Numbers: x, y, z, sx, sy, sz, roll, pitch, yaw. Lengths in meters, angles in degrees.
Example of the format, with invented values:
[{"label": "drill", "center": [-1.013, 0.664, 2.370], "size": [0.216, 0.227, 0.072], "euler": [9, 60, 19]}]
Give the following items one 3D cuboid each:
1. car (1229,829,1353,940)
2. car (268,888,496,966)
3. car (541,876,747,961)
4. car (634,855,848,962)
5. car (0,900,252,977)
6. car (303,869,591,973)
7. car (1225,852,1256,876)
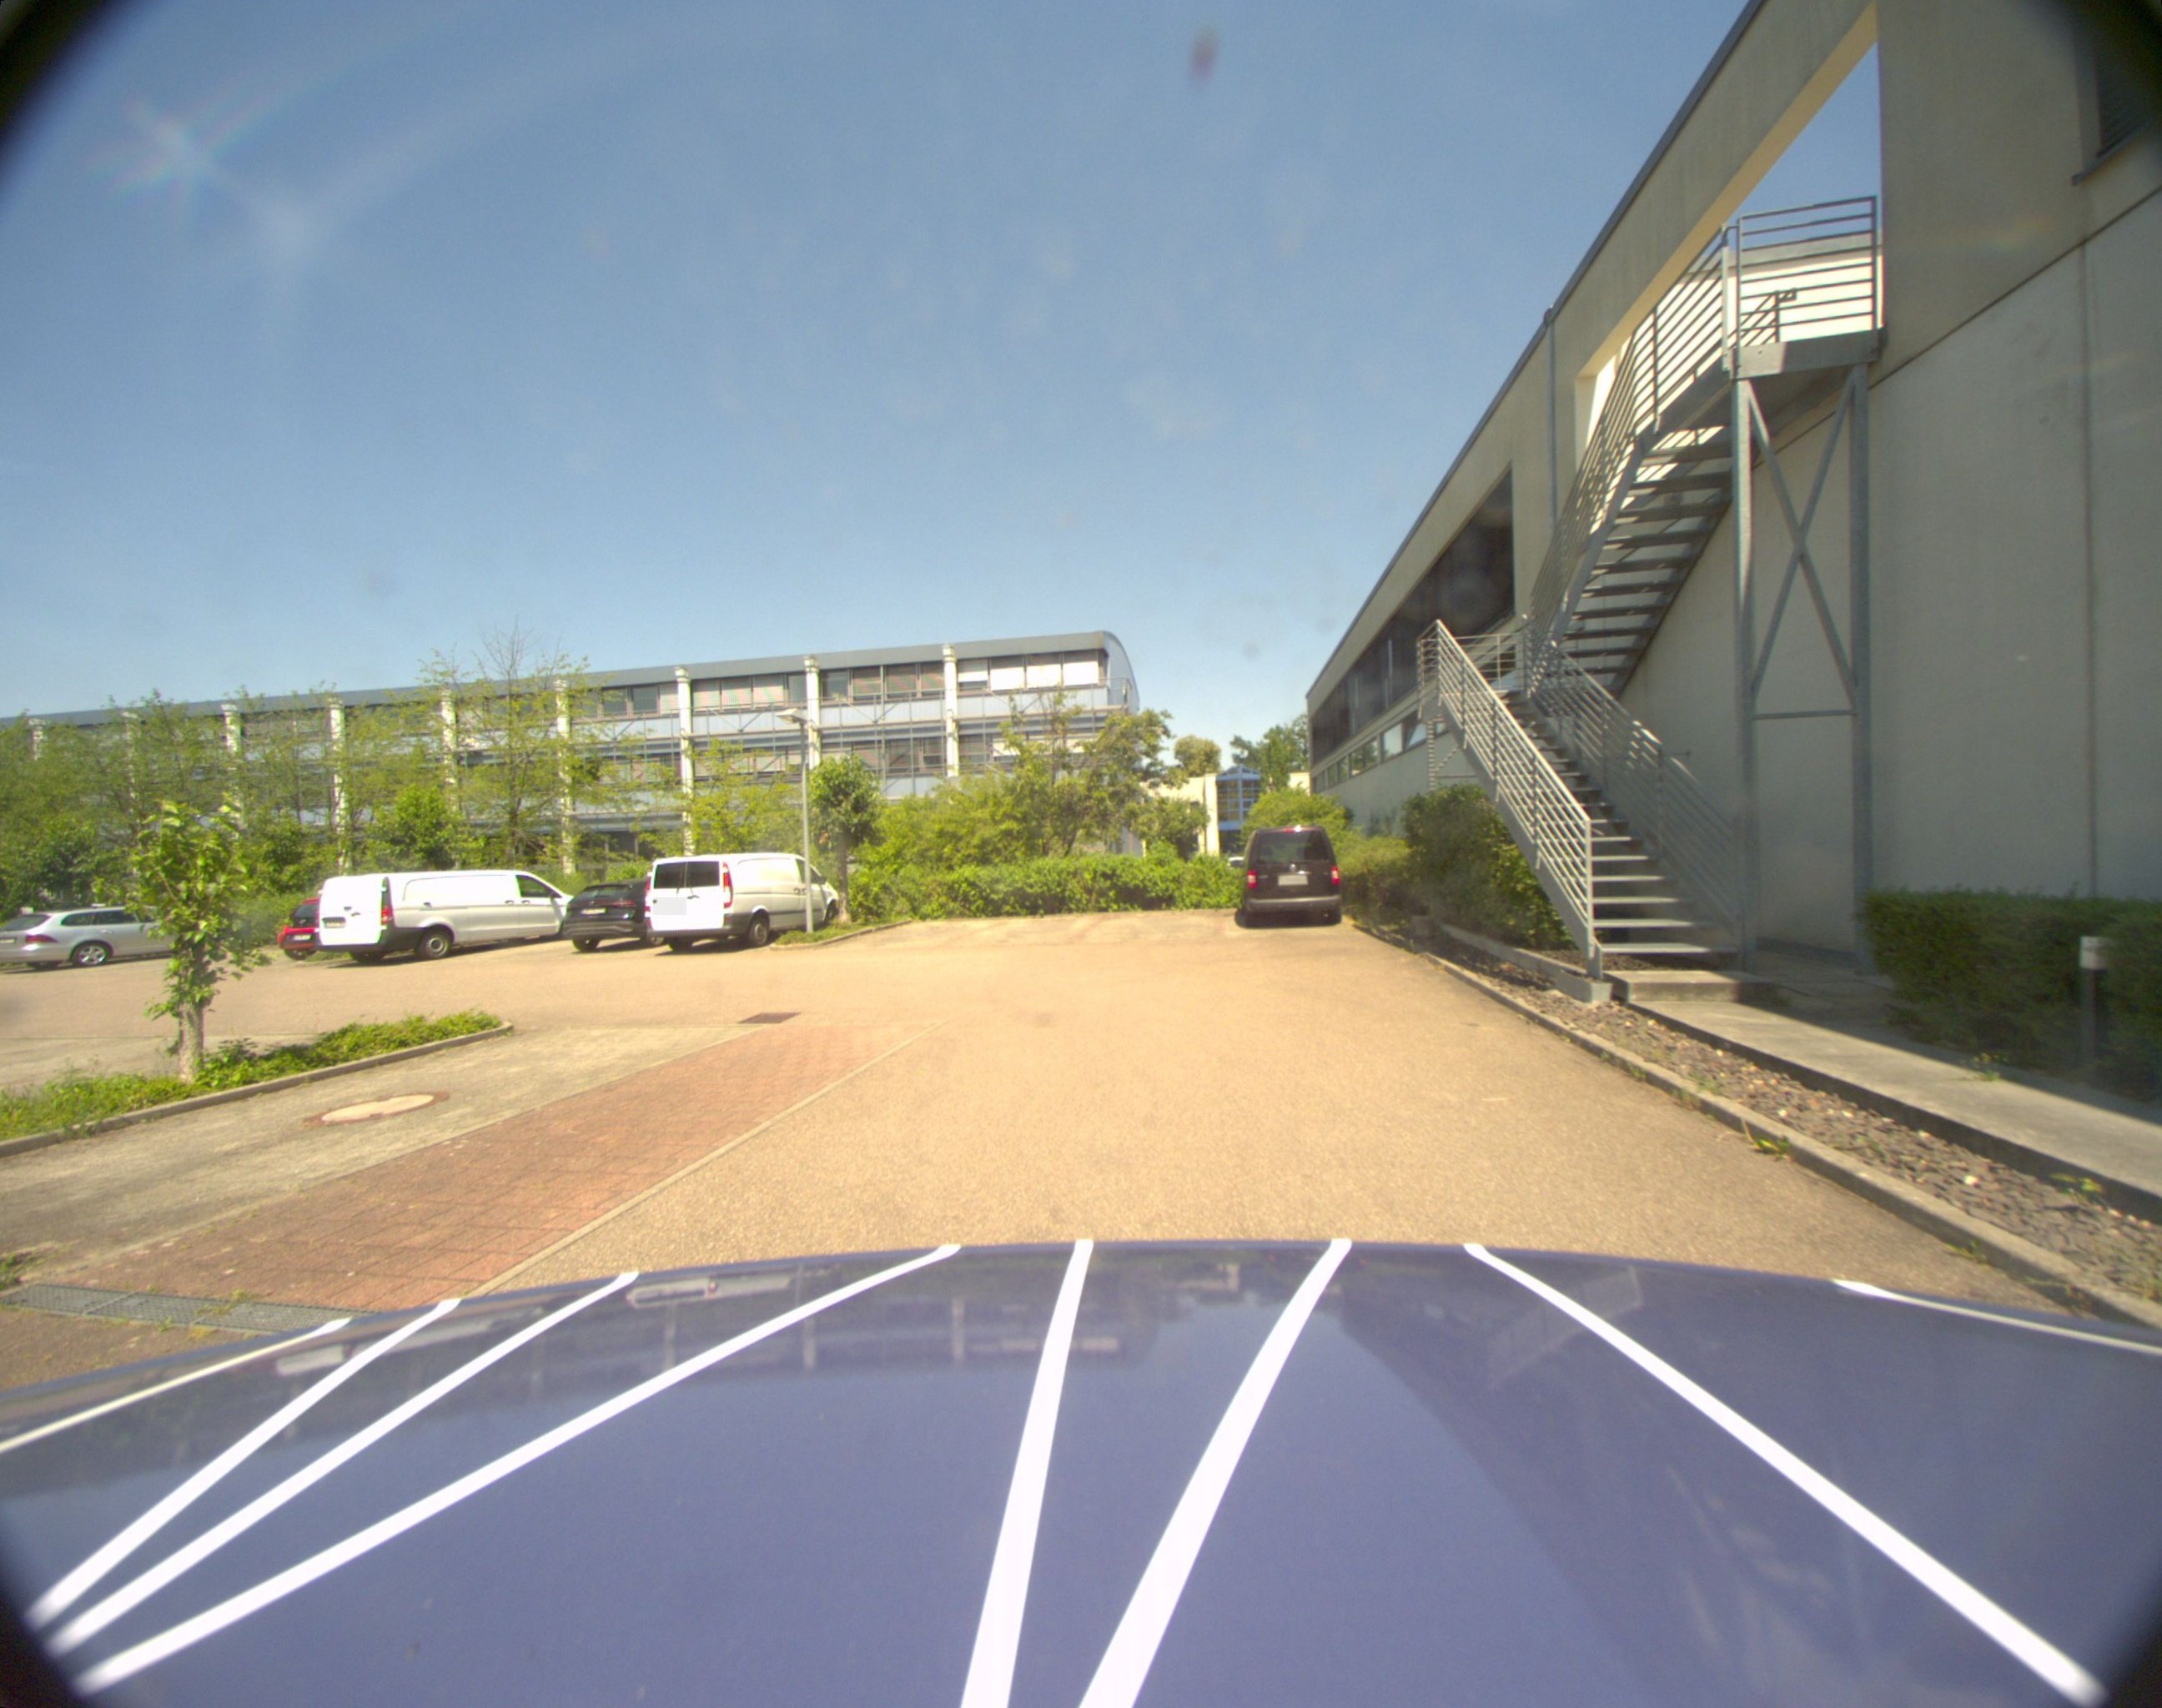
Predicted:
[{"label": "car", "center": [4.047, 0.511, 15.298], "size": [1.866, 1.849, 4.231], "euler": [-3, 0, 9]}, {"label": "car", "center": [-17.257, 1.741, 19.041], "size": [1.622, 1.479, 3.924], "euler": [-3, 1, 11]}, {"label": "car", "center": [-9.679, 1.363, 17.290], "size": [1.737, 1.475, 4.200], "euler": [-3, 0, 9]}, {"label": "car", "center": [-7.057, 1.029, 16.443], "size": [1.866, 1.849, 4.680], "euler": [-3, 0, 9]}, {"label": "car", "center": [-25.001, 2.117, 19.870], "size": [1.737, 1.475, 4.088], "euler": [-3, 0, 12]}, {"label": "car", "center": [-14.214, 1.395, 17.550], "size": [1.854, 1.845, 4.938], "euler": [-3, 1, 11]}, {"label": "car", "center": [11.984, 0.737, 57.347], "size": [1.835, 1.558, 4.001], "euler": [-2, 2, 6]}]
